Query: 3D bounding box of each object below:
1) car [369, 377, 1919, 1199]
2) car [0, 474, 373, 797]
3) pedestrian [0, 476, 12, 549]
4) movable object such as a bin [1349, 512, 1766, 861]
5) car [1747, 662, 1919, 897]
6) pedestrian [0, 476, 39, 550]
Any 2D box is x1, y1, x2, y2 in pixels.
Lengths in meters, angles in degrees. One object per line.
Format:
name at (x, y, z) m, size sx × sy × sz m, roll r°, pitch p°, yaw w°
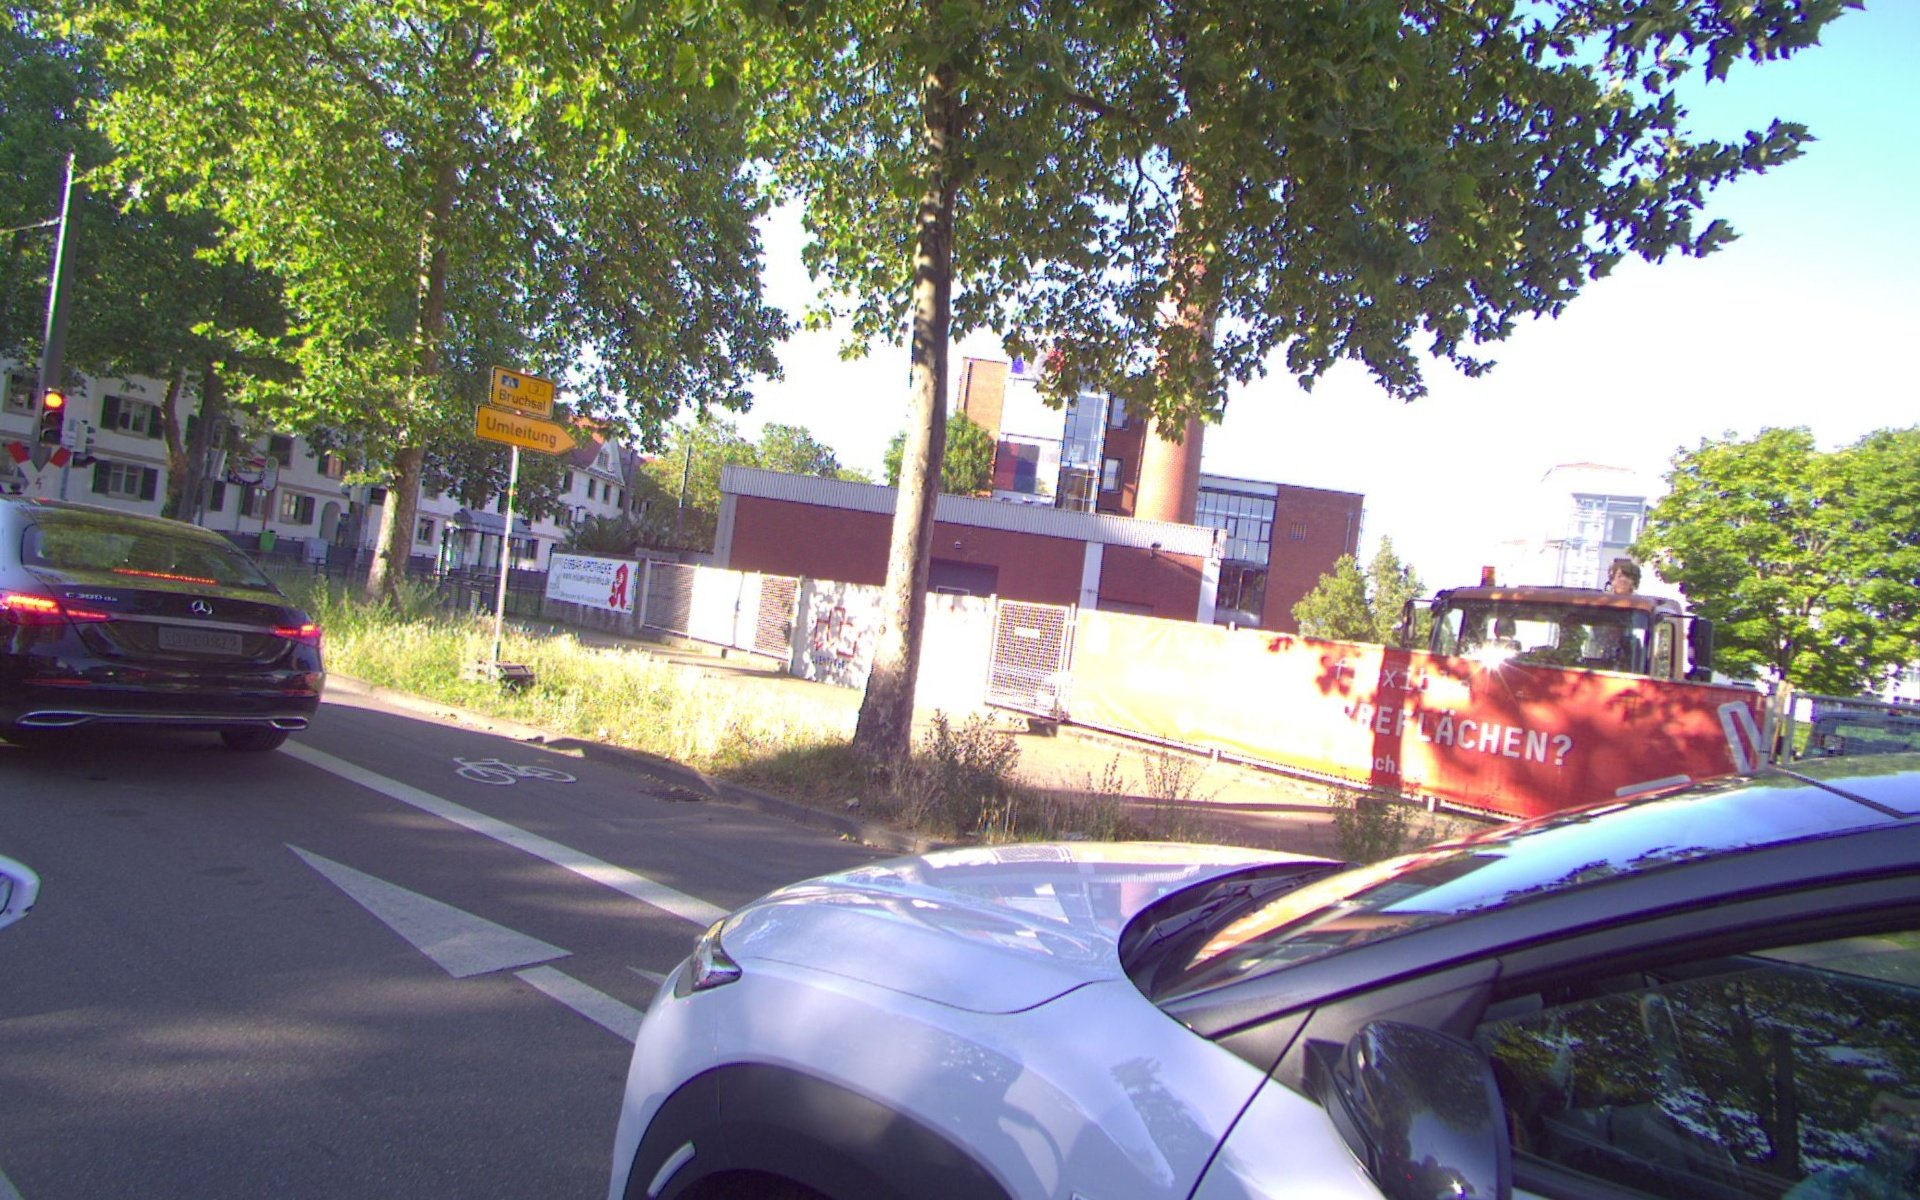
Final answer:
car at (1.241, 0.798, 1.328) m, size 3.901 × 1.616 × 1.893 m, roll 9°, pitch -1°, yaw 33°
car at (-6.007, 0.013, 6.670) m, size 4.311 × 1.508 × 1.892 m, roll 9°, pitch -1°, yaw 35°
pedestrian at (-26.114, -2.397, 26.910) m, size 0.825 × 1.940 × 0.707 m, roll 7°, pitch -1°, yaw 28°
movable object such as a bin at (7.649, 1.032, 12.405) m, size 3.172 × 3.084 × 6.266 m, roll 6°, pitch -2°, yaw 41°
car at (9.578, 1.822, 10.148) m, size 2.016 × 1.849 × 4.583 m, roll 6°, pitch -3°, yaw 44°
pedestrian at (-26.517, -2.433, 28.129) m, size 0.825 × 1.940 × 0.707 m, roll 7°, pitch -1°, yaw 28°
